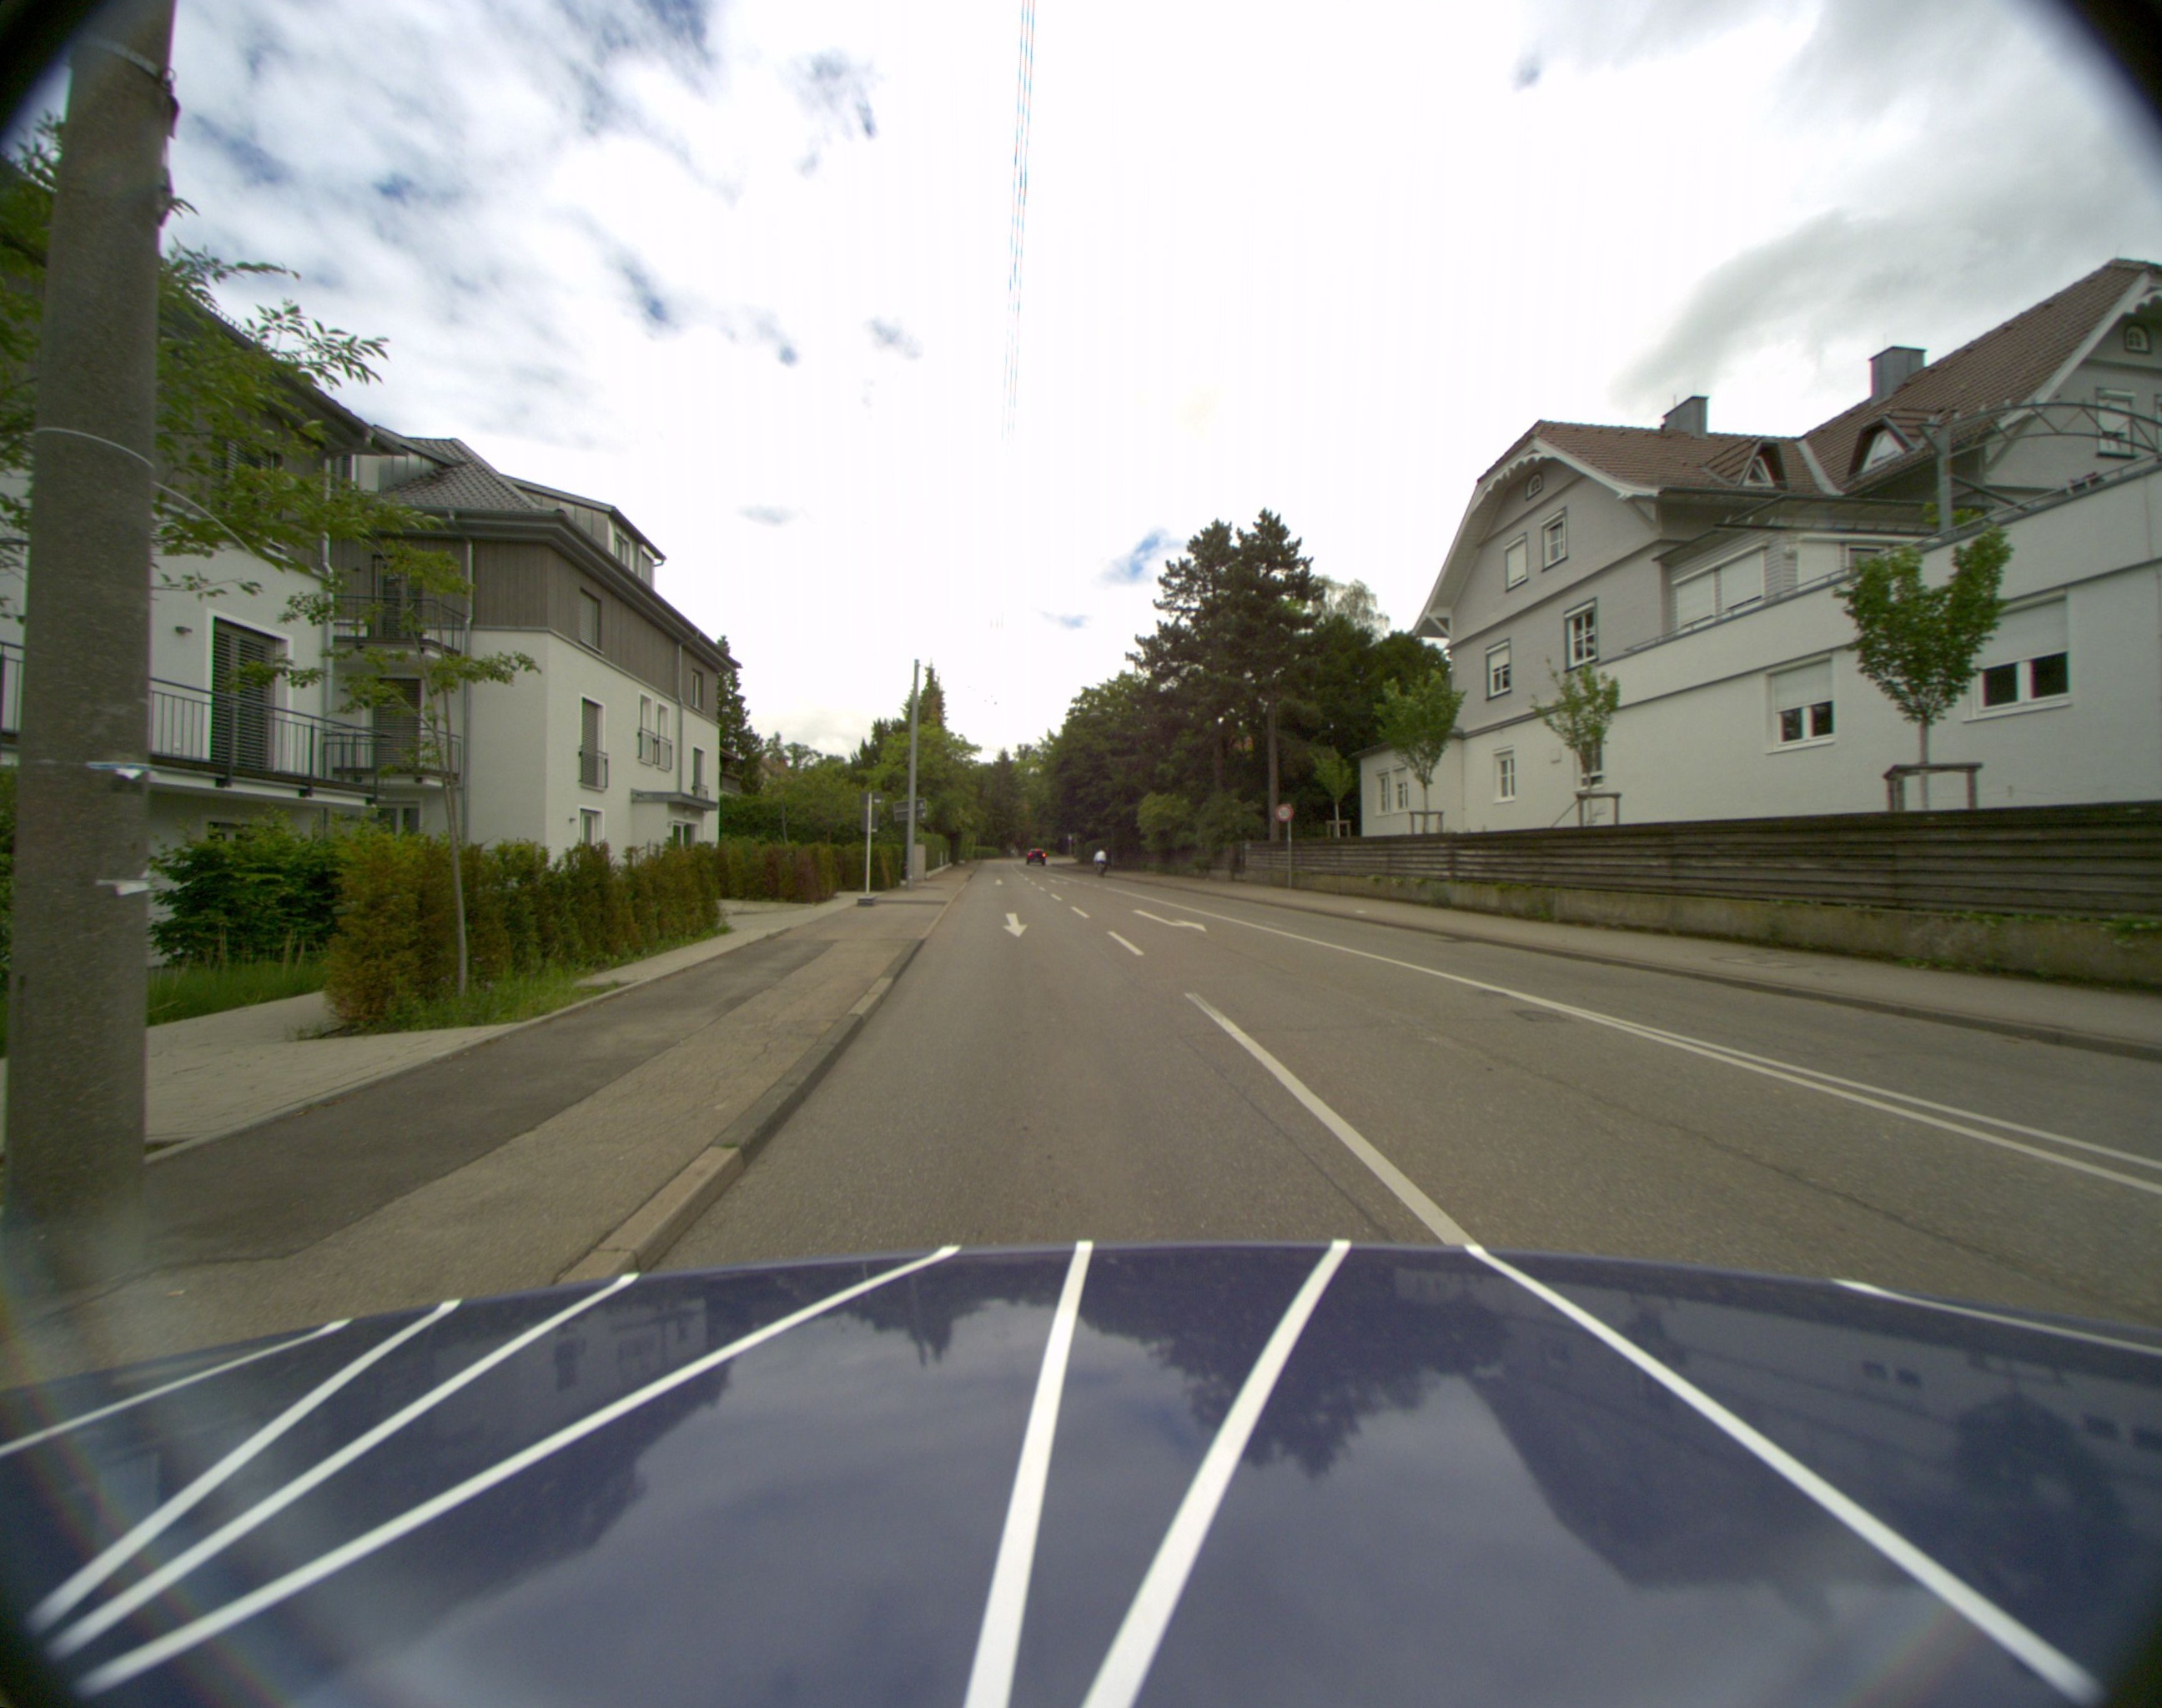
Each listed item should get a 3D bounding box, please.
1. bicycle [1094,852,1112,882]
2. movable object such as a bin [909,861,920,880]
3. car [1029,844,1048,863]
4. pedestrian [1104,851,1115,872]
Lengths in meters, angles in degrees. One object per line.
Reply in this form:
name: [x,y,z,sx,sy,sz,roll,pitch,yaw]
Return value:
bicycle: [1.332,0.781,46.712,0.761,1.734,1.870,1,0,-8]
movable object such as a bin: [-8.102,0.807,36.900,0.467,0.932,0.604,-1,0,-17]
car: [-4.372,-0.107,78.589,1.837,1.622,4.279,4,3,-4]
pedestrian: [2.304,0.582,62.005,0.631,1.652,0.918,-1,2,-20]
